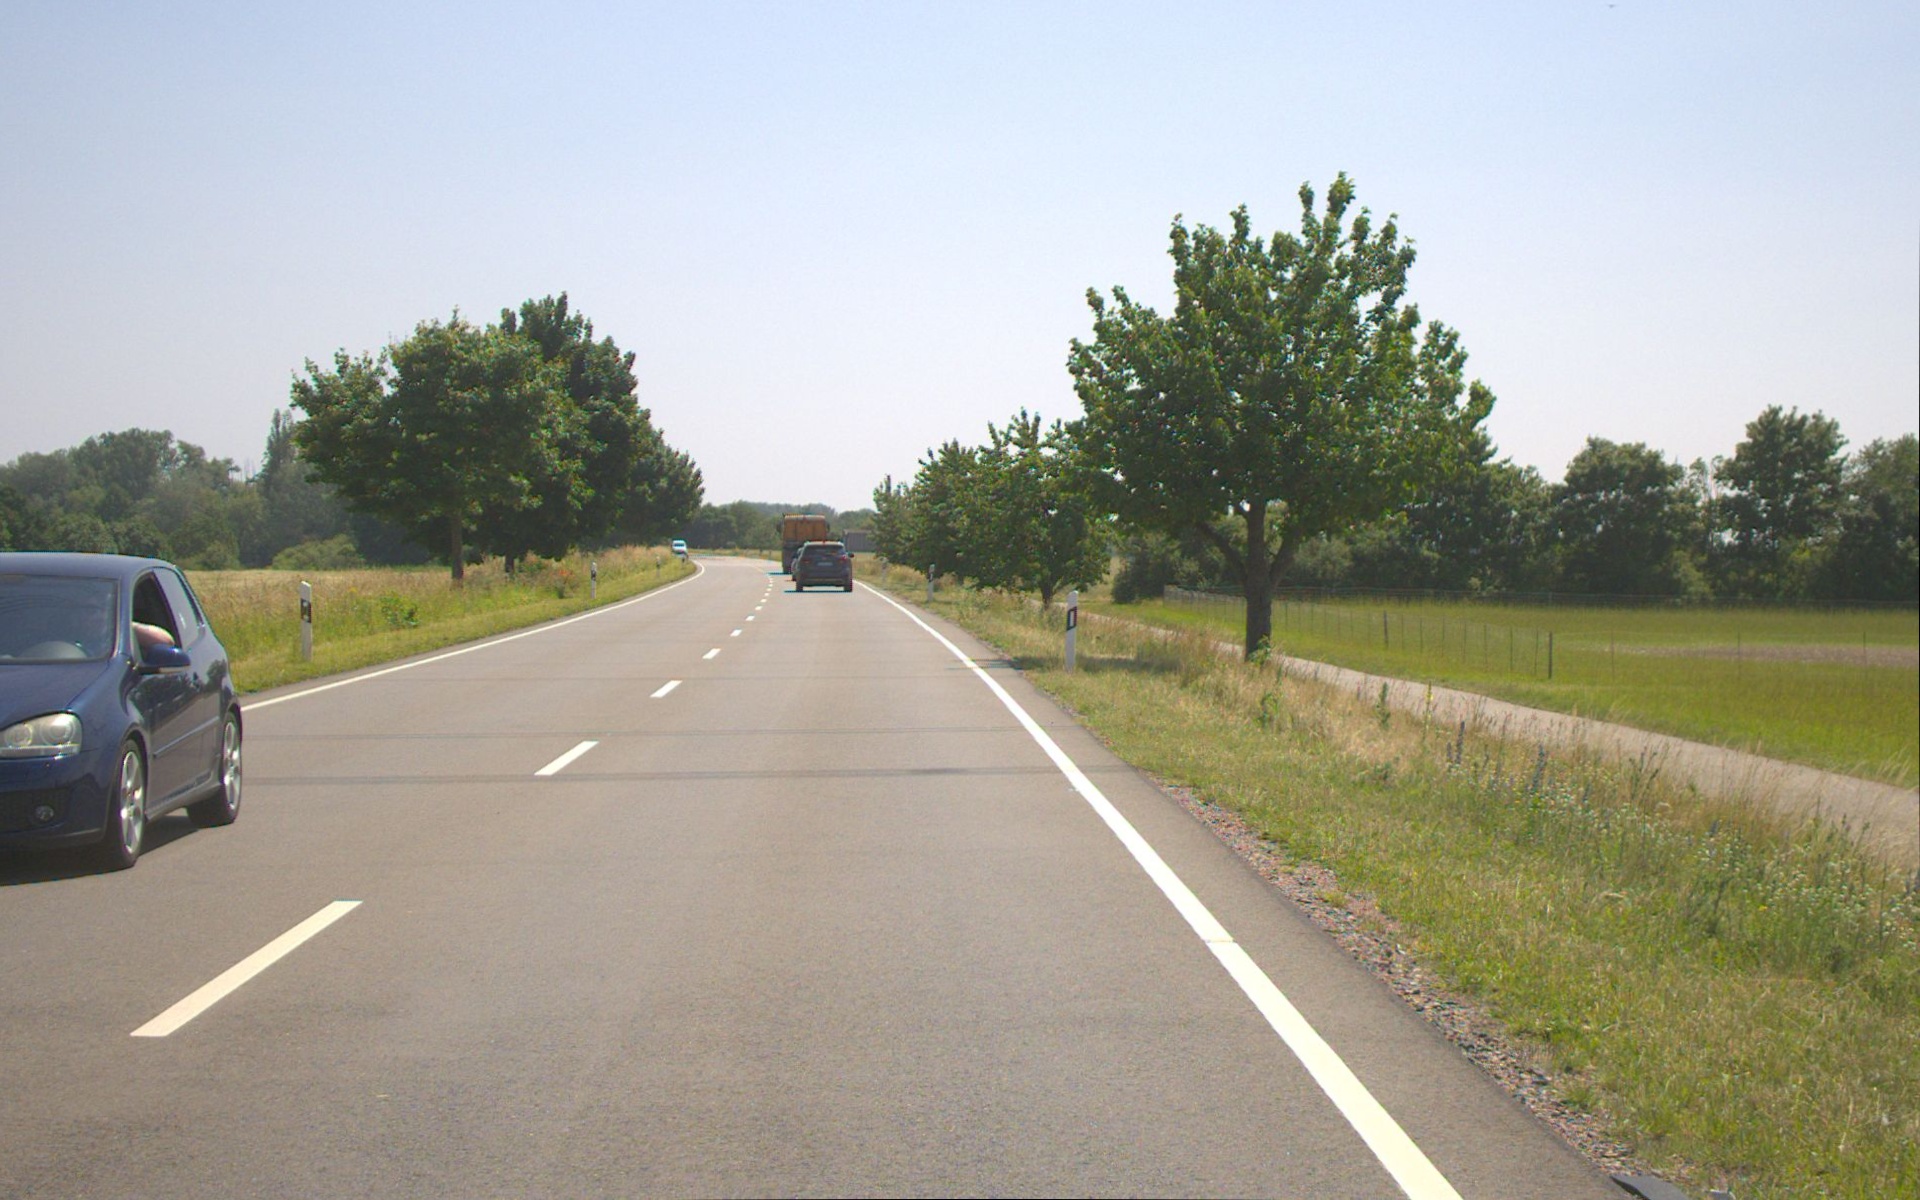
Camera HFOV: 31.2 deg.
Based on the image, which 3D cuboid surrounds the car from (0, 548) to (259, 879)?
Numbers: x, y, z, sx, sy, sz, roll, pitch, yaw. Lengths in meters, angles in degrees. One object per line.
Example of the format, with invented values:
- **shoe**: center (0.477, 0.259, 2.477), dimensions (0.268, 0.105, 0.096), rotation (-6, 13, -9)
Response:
- **car**: center (-4.669, 0.467, 16.994), dimensions (1.734, 1.442, 4.000), rotation (0, 1, -2)

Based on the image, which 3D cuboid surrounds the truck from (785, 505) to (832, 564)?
- **truck**: center (-8.278, -3.542, 186.946), dimensions (2.370, 3.129, 8.748), rotation (0, 1, -3)

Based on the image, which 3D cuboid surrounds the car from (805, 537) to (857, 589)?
- **car**: center (-4.320, -1.244, 114.966), dimensions (1.714, 1.688, 3.989), rotation (0, 1, -2)
